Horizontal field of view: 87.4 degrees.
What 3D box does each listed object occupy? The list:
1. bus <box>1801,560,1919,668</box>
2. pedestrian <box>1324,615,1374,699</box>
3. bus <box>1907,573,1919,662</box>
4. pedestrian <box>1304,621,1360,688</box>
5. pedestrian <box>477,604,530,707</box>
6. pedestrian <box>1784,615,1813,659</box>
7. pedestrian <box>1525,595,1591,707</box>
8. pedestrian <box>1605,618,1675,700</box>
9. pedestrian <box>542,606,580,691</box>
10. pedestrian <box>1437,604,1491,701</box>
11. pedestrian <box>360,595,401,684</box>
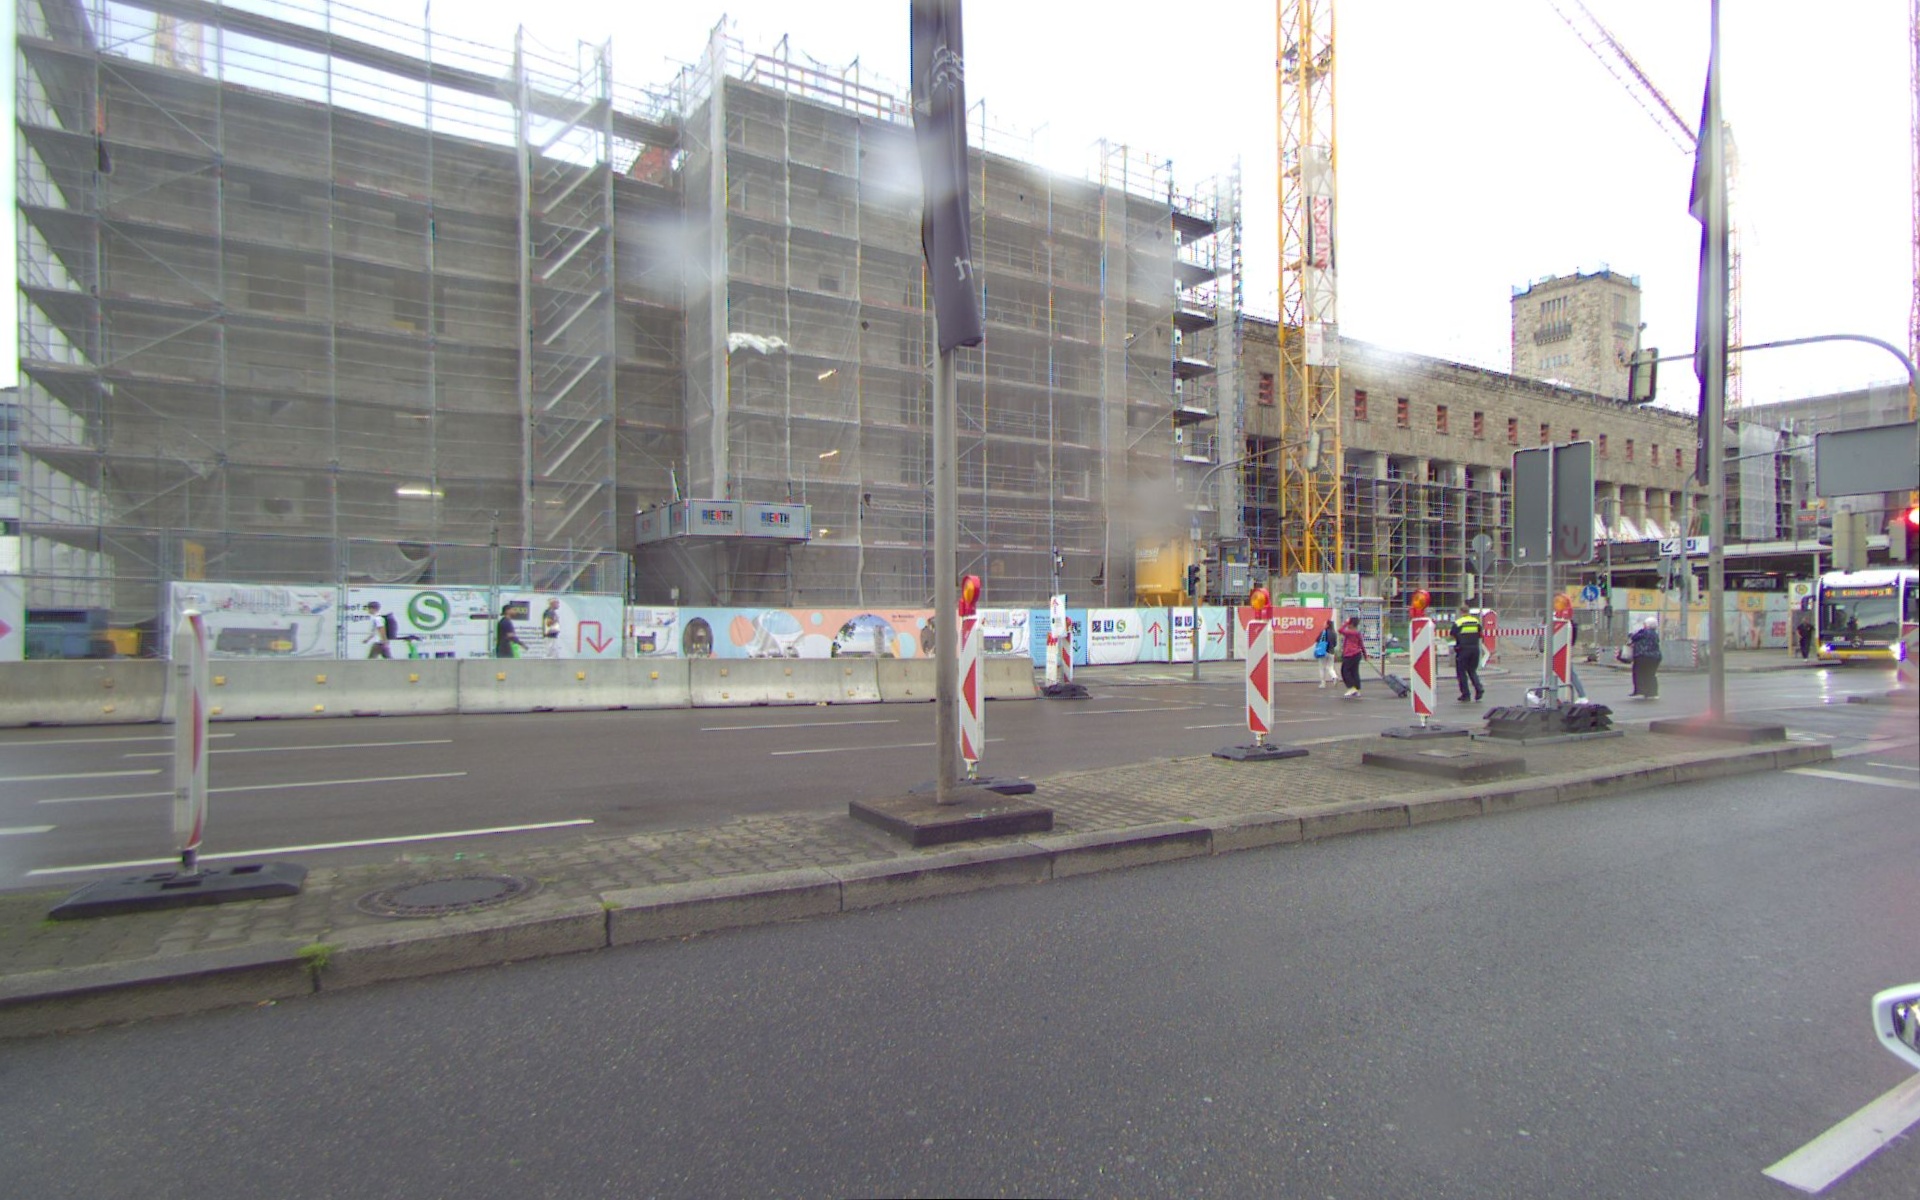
[{"bbox_3d":[35.376,0.596,37.623,10.119,3.650,2.655,2,0,-30],"label":"bus"},{"bbox_3d":[8.337,1.212,21.536,0.613,1.740,0.794,1,-2,-33],"label":"pedestrian"},{"bbox_3d":[44.034,0.851,42.755,10.092,3.650,2.655,2,0,-30],"label":"bus"},{"bbox_3d":[9.118,1.318,24.637,0.890,1.584,0.909,1,0,-33],"label":"pedestrian"},{"bbox_3d":[-8.558,1.025,18.821,0.810,1.860,0.575,1,0,-30],"label":"pedestrian"},{"bbox_3d":[32.551,1.434,38.991,0.637,1.703,0.656,1,0,-30],"label":"pedestrian"},{"bbox_3d":[10.577,0.885,17.763,0.614,1.915,0.793,1,0,-38],"label":"pedestrian"},{"bbox_3d":[13.584,1.166,20.082,0.776,1.581,0.869,1,0,-26],"label":"pedestrian"},{"bbox_3d":[-8.960,1.080,22.547,0.709,1.860,0.478,1,0,-30],"label":"pedestrian"},{"bbox_3d":[9.938,1.027,19.805,0.810,1.860,0.575,1,0,-30],"label":"pedestrian"},{"bbox_3d":[-12.214,0.826,21.190,0.709,1.860,0.478,1,0,-30],"label":"pedestrian"}]
